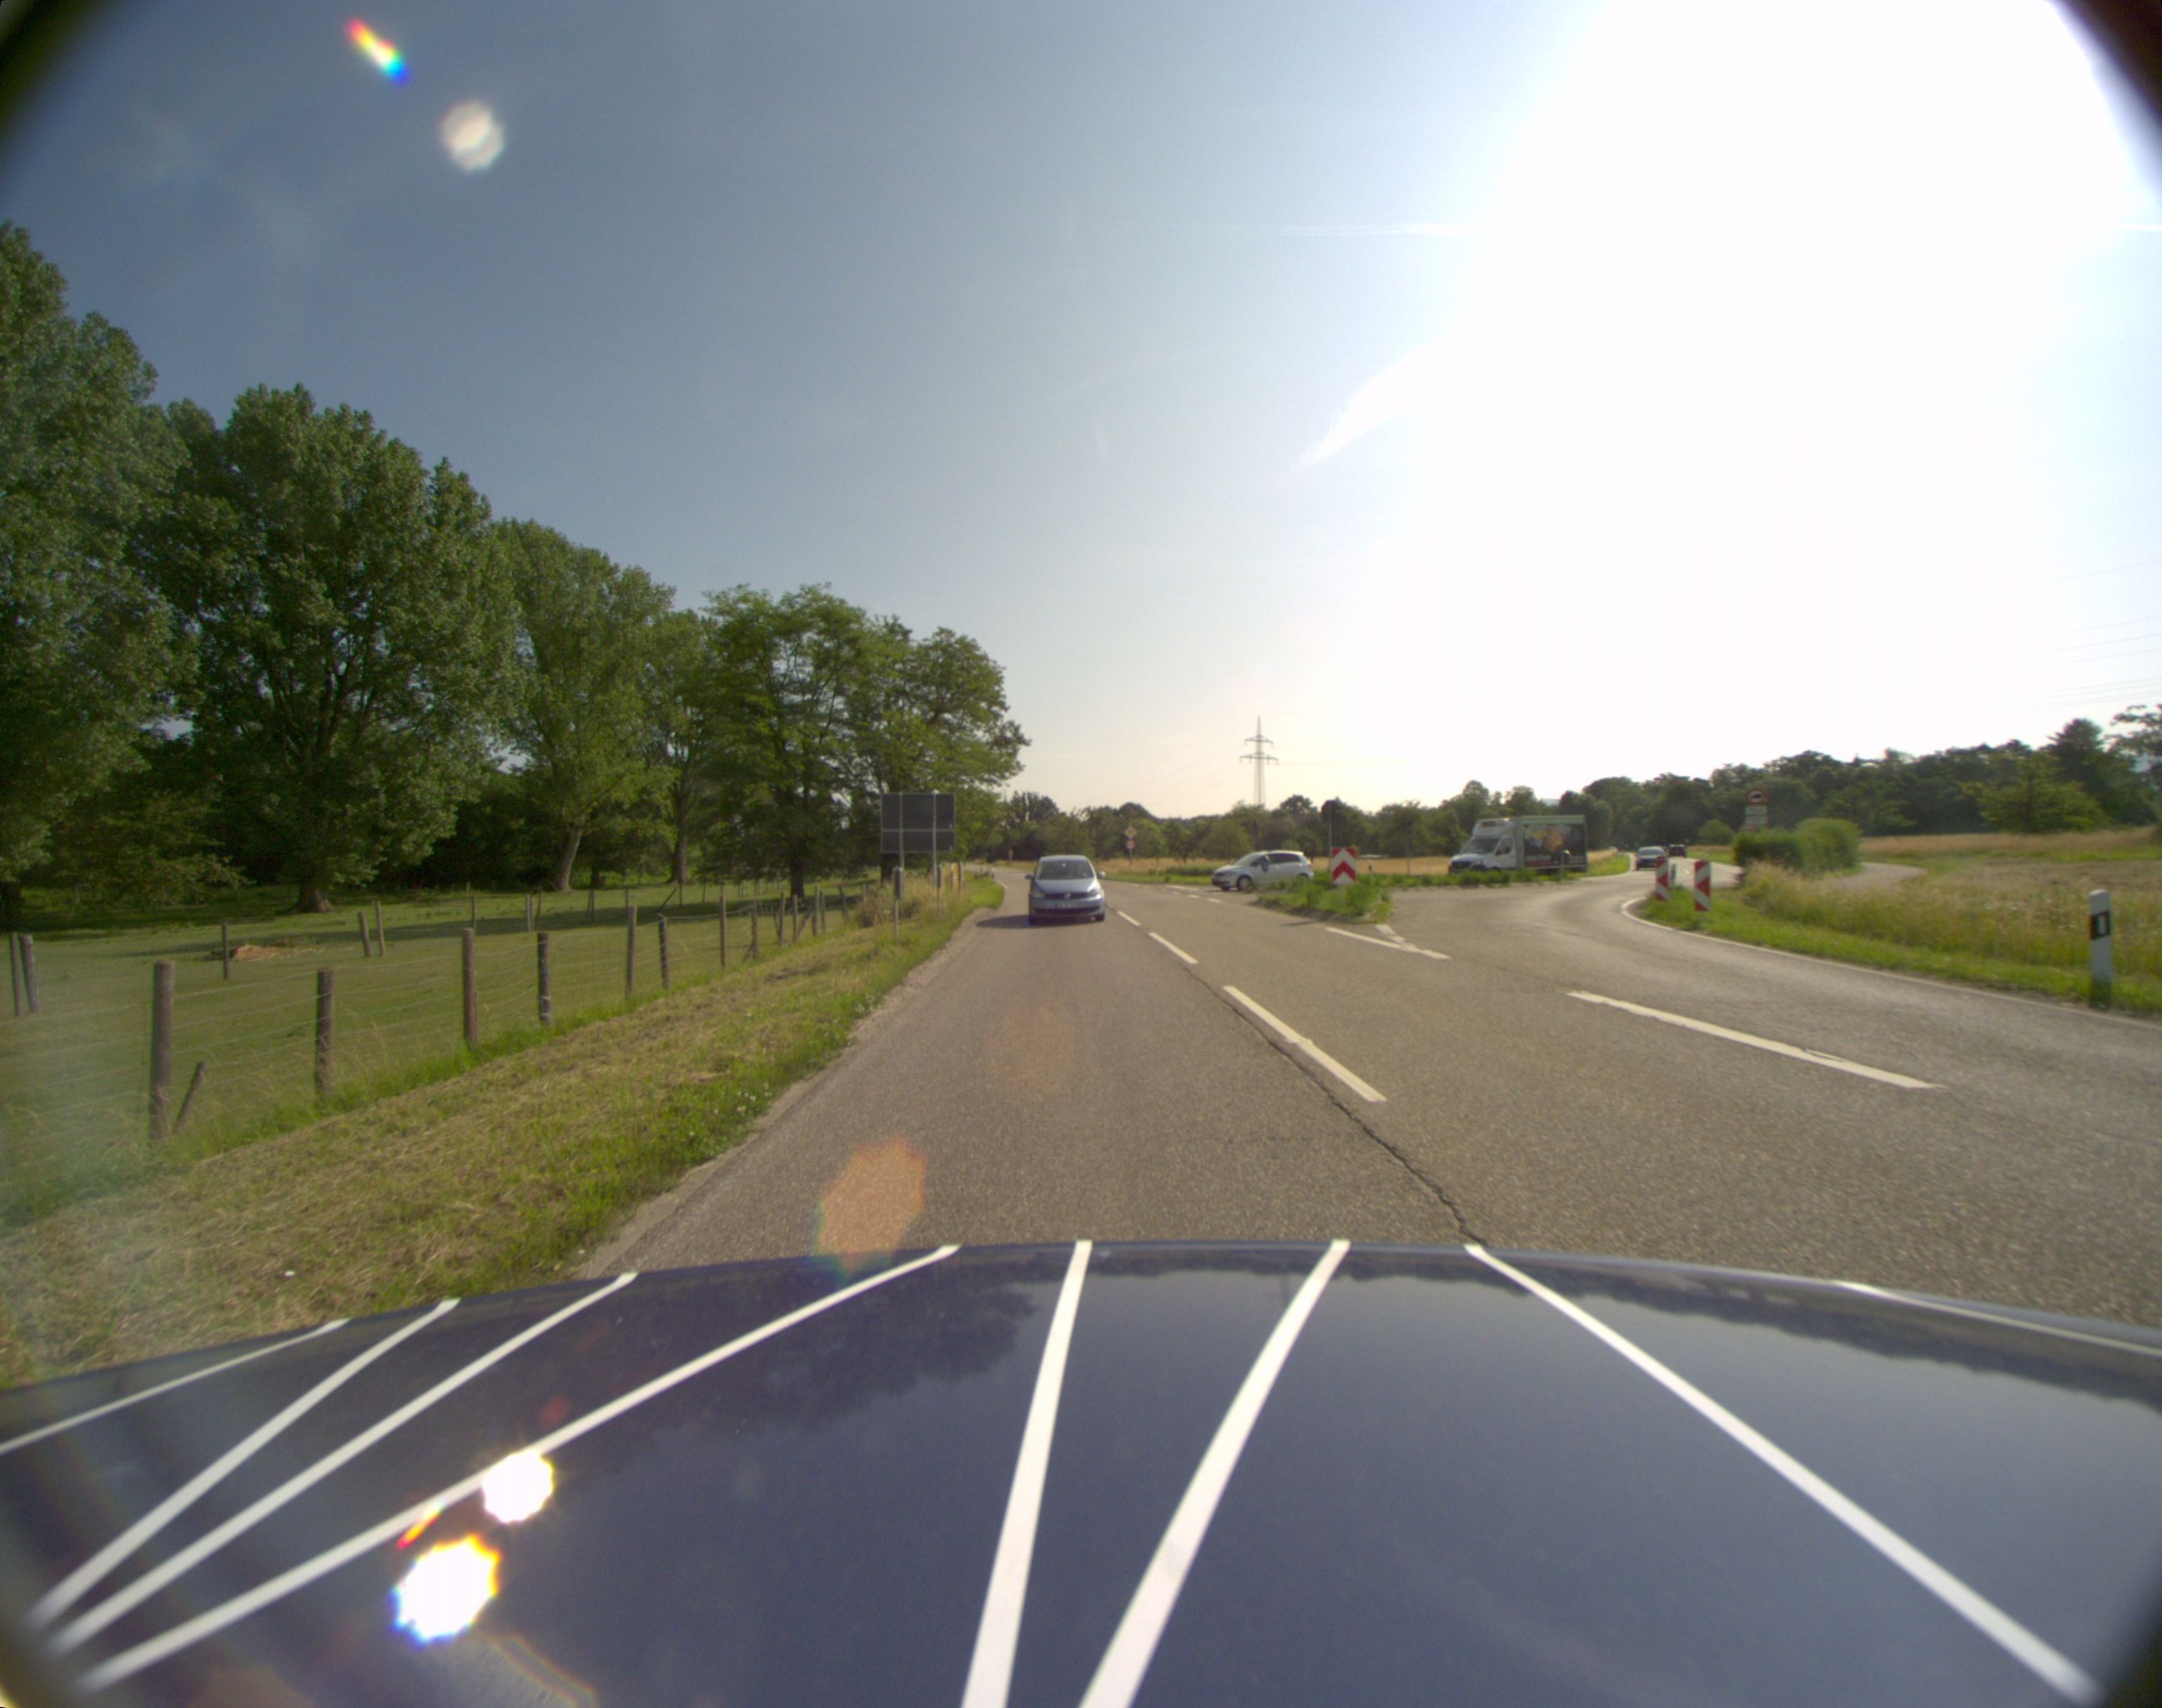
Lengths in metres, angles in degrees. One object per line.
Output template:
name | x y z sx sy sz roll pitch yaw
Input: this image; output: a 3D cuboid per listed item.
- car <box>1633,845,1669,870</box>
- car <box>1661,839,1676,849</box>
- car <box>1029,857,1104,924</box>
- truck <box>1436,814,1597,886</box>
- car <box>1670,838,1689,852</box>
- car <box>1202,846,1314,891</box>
car | 39.392 0.236 52.461 1.813 1.543 4.008 -2 0 39
car | 100.950 -1.758 130.567 1.813 1.543 4.007 -2 0 34
car | -0.422 0.893 20.279 1.718 1.495 4.093 -3 0 -2
truck | 20.339 -0.243 35.449 7.373 3.027 2.579 -2 0 -24
car | 76.201 -1.156 96.740 1.813 1.543 4.008 -2 0 38
car | 7.170 0.574 30.949 3.911 1.570 1.997 -3 0 -16
